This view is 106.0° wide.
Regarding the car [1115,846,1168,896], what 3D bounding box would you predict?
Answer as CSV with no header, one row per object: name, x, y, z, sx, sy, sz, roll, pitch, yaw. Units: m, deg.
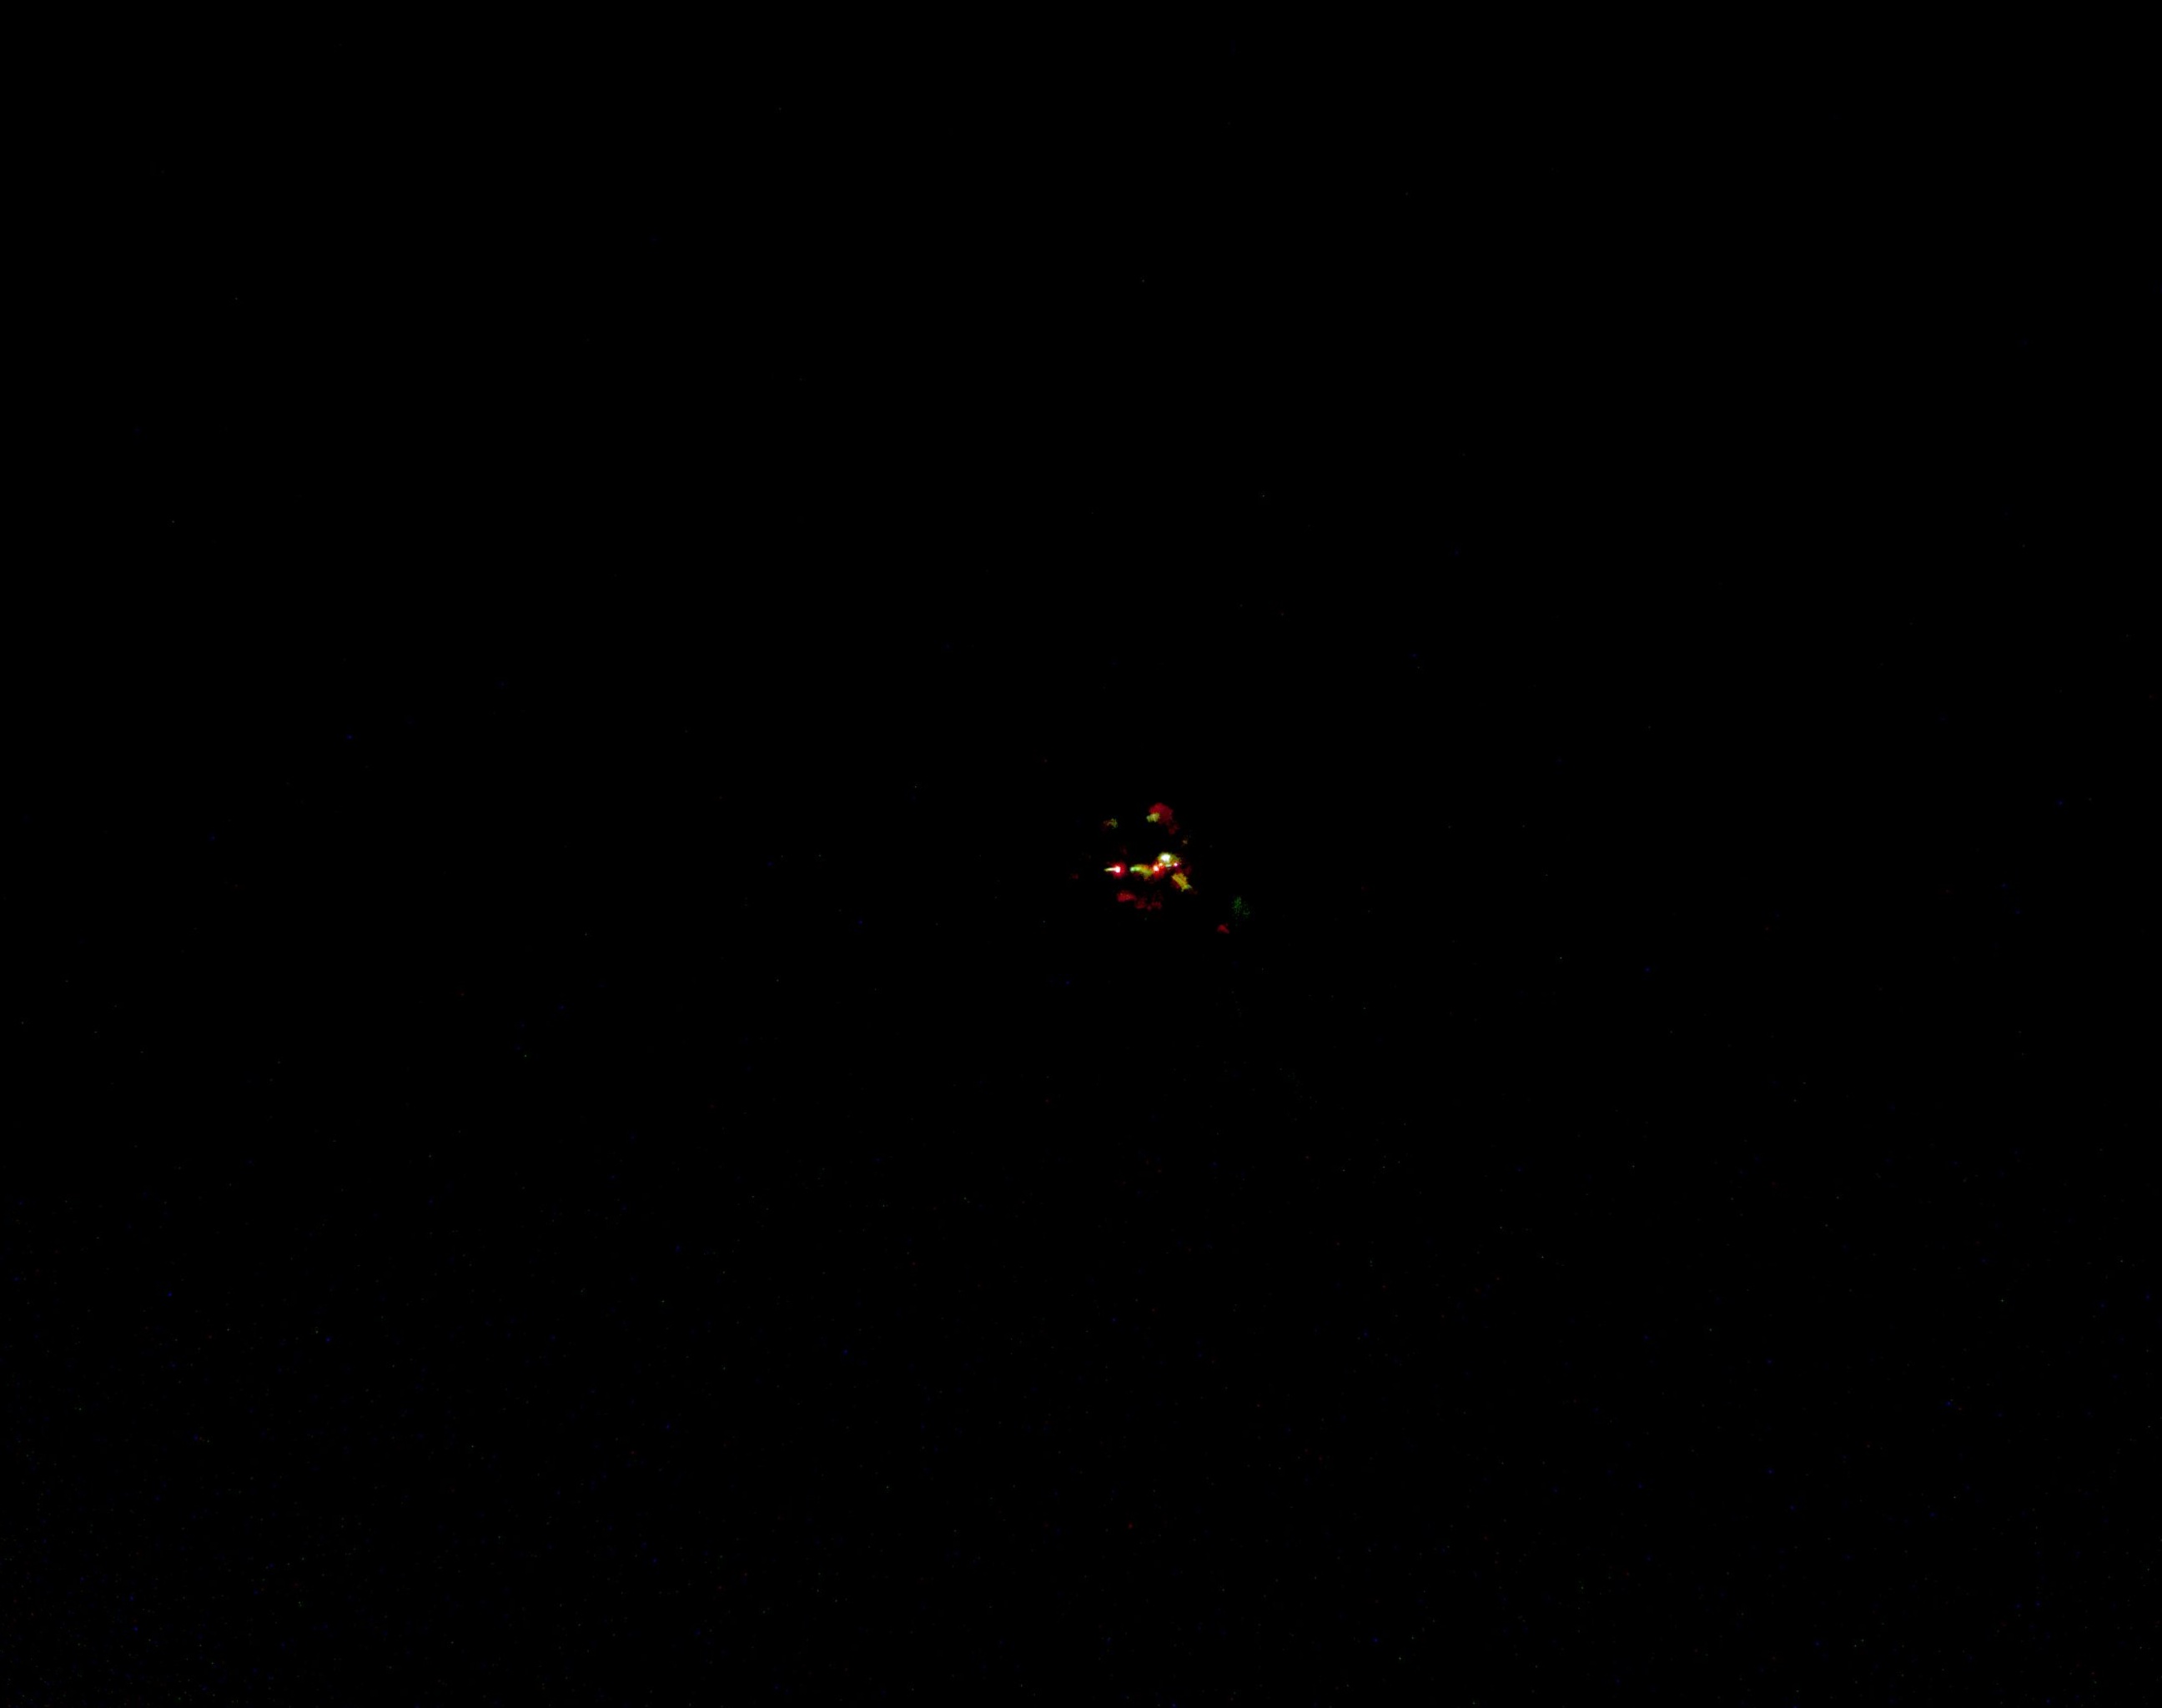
car,2.576,0.663,34.542,1.985,1.806,3.922,-4,1,4
